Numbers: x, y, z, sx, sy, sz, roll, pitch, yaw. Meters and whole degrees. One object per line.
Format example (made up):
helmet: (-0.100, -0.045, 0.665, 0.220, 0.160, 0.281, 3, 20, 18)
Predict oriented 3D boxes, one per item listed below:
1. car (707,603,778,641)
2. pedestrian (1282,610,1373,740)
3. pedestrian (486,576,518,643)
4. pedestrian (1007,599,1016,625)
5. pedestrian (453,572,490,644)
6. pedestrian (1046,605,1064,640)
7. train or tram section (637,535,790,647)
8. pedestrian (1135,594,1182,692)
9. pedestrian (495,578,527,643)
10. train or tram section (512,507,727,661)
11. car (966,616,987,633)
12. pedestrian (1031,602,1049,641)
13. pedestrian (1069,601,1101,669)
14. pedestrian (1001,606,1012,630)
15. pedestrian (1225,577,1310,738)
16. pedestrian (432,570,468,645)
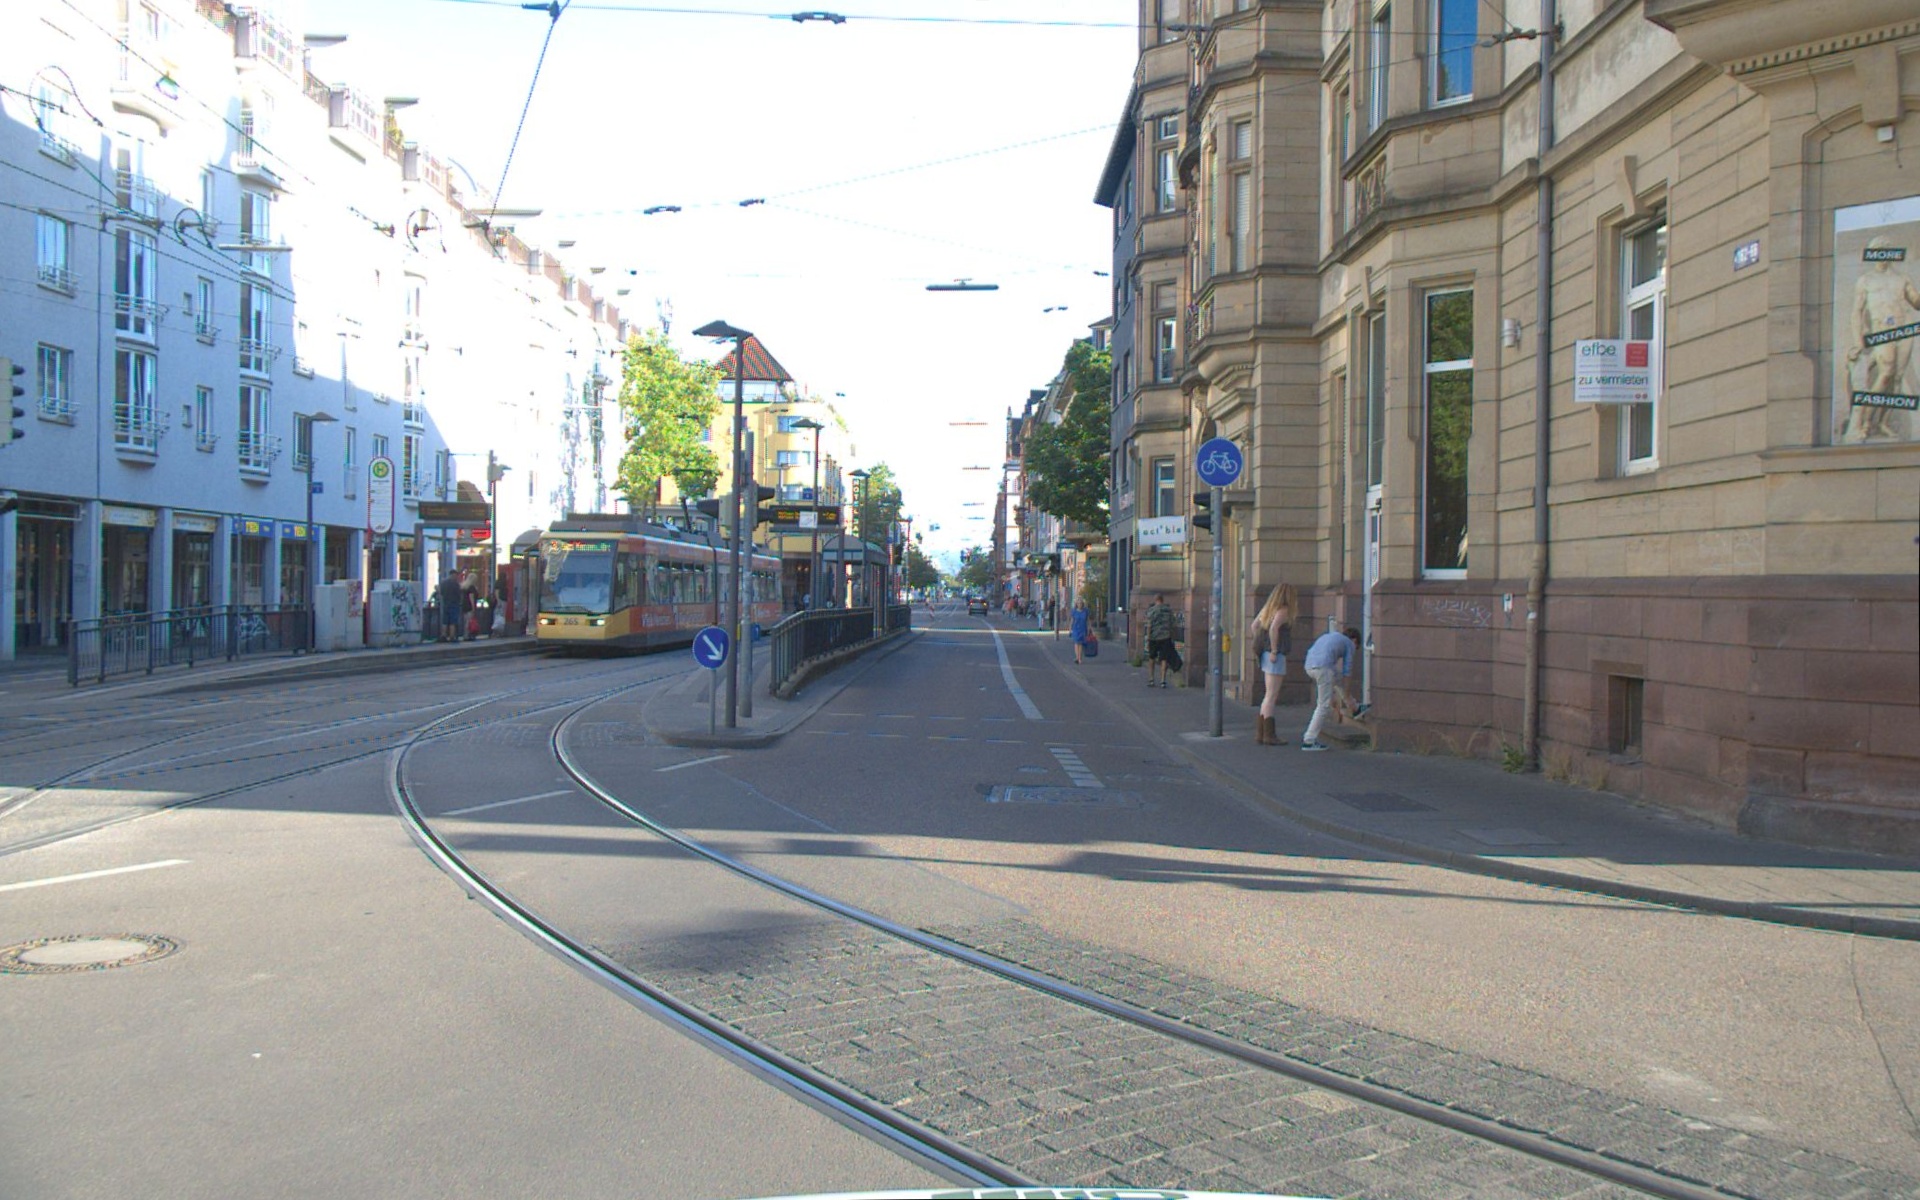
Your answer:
car: (-16.464, 1.672, 125.276, 5.000, 2.621, 2.128, 2, -1, 1)
pedestrian: (3.891, 0.792, 17.562, 0.778, 1.355, 0.719, 0, -2, -2)
pedestrian: (-11.977, 0.247, 43.248, 0.686, 1.721, 0.667, 2, -2, -24)
pedestrian: (3.607, 0.861, 116.637, 0.548, 1.828, 0.651, 1, -1, 7)
pedestrian: (-12.102, 0.193, 40.993, 0.752, 1.763, 0.517, 0, -2, 42)
pedestrian: (4.410, 1.038, 76.894, 0.699, 1.631, 0.772, -1, 0, -3)
train or tram section: (-8.686, -0.153, 60.523, 2.825, 3.551, 14.952, 1, -1, 2)
pedestrian: (3.778, 0.813, 31.576, 0.784, 1.856, 0.797, 0, -1, 0)
pedestrian: (-12.215, 0.285, 44.990, 0.686, 1.721, 0.667, 2, -2, -24)
train or tram section: (-8.994, -0.245, 45.953, 2.826, 3.551, 14.167, 1, -1, 1)
car: (1.545, 2.296, 155.671, 1.953, 1.475, 3.999, 2, -1, 0)
pedestrian: (3.698, 0.987, 76.567, 0.699, 1.806, 0.772, -1, 0, -3)
pedestrian: (3.125, 0.863, 41.373, 0.747, 1.674, 0.832, 0, -1, 0)
pedestrian: (3.838, 1.448, 135.562, 0.826, 1.951, 0.661, 2, -1, -2)
pedestrian: (3.401, 0.635, 18.325, 0.778, 1.752, 0.719, 0, -2, -2)
pedestrian: (-12.005, 0.179, 38.961, 0.586, 1.721, 0.613, 2, -2, 0)
